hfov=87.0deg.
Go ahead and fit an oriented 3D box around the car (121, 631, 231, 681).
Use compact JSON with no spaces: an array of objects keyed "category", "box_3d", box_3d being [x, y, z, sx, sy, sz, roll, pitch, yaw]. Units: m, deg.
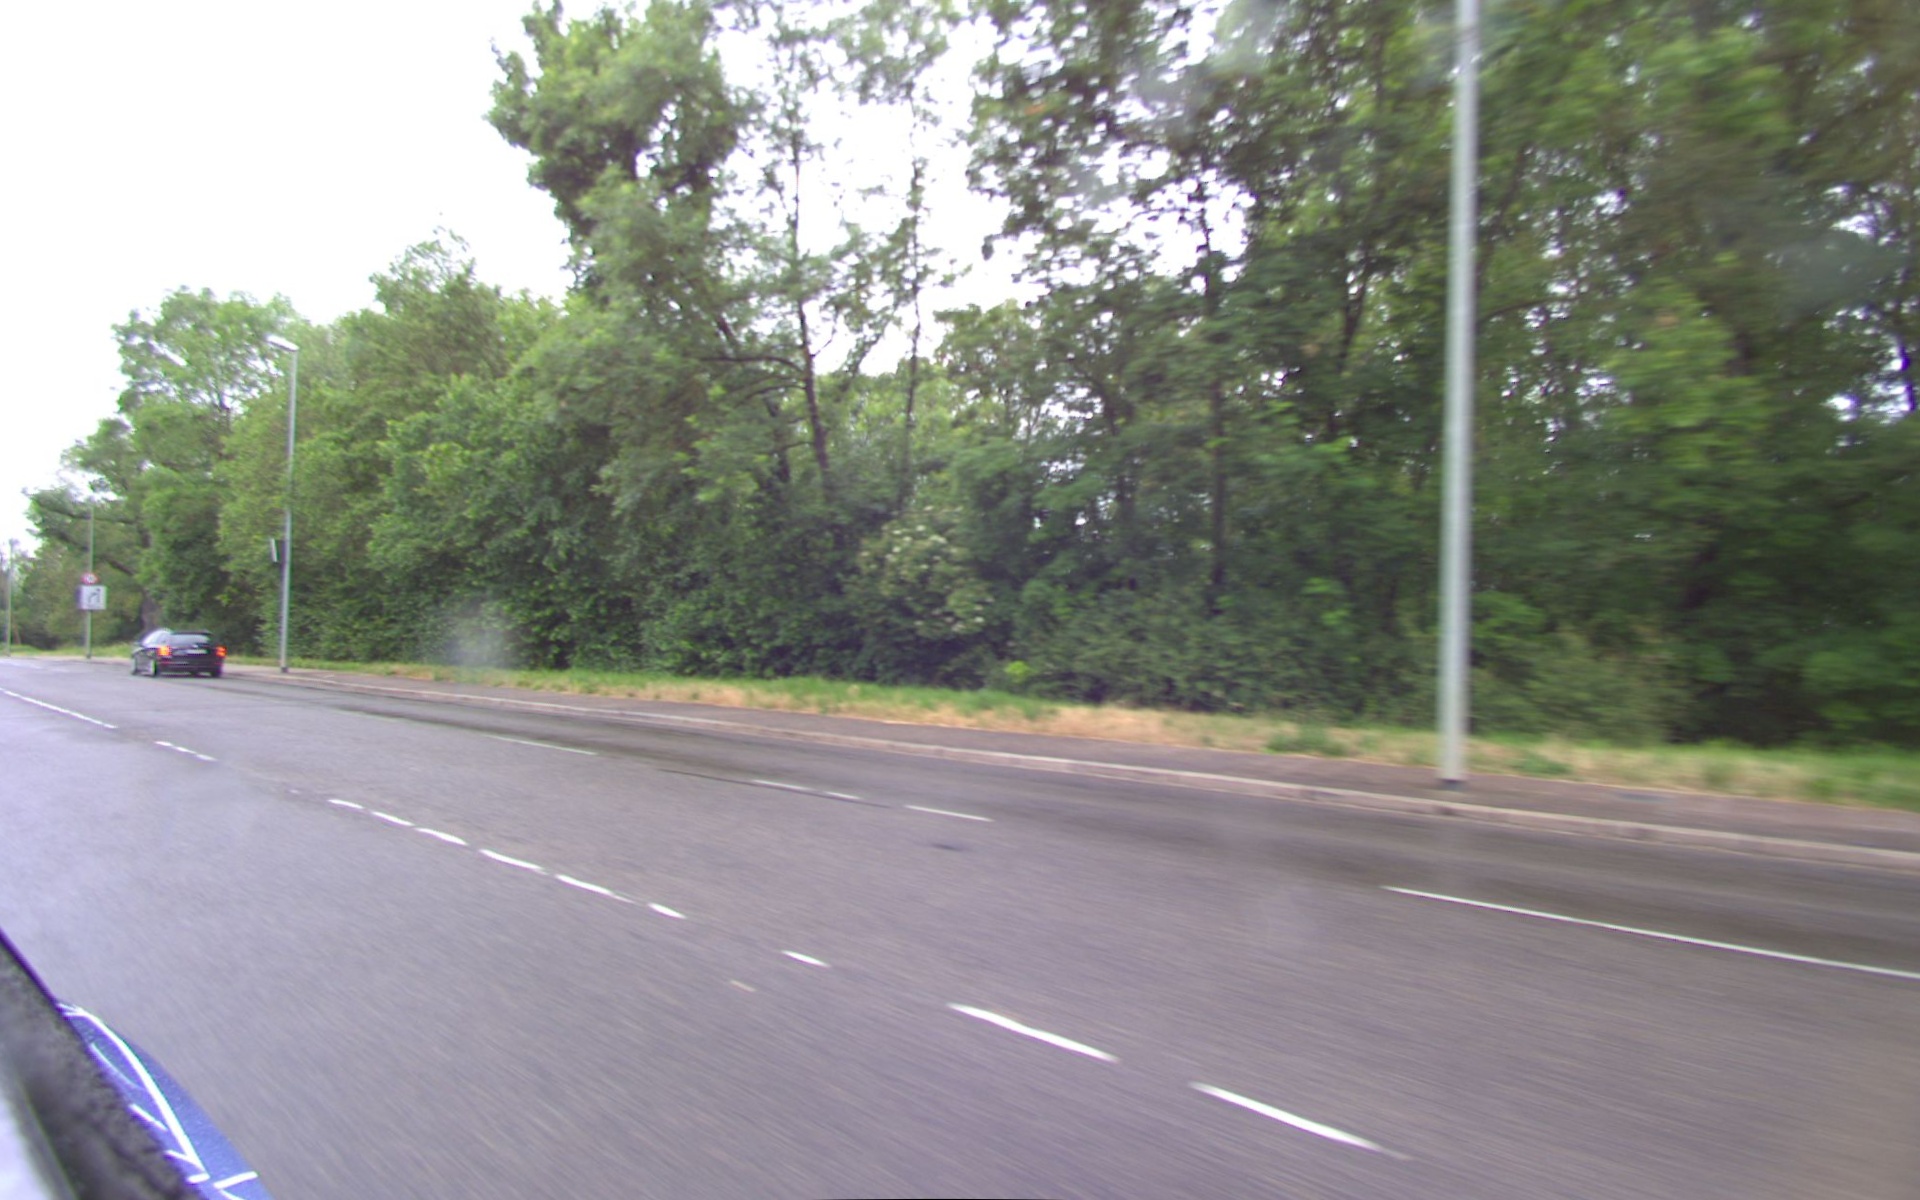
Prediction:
[{"category":"car","box_3d":[-24.199,1.698,31.190,4.385,1.443,1.726,-1,-4,40]}]
